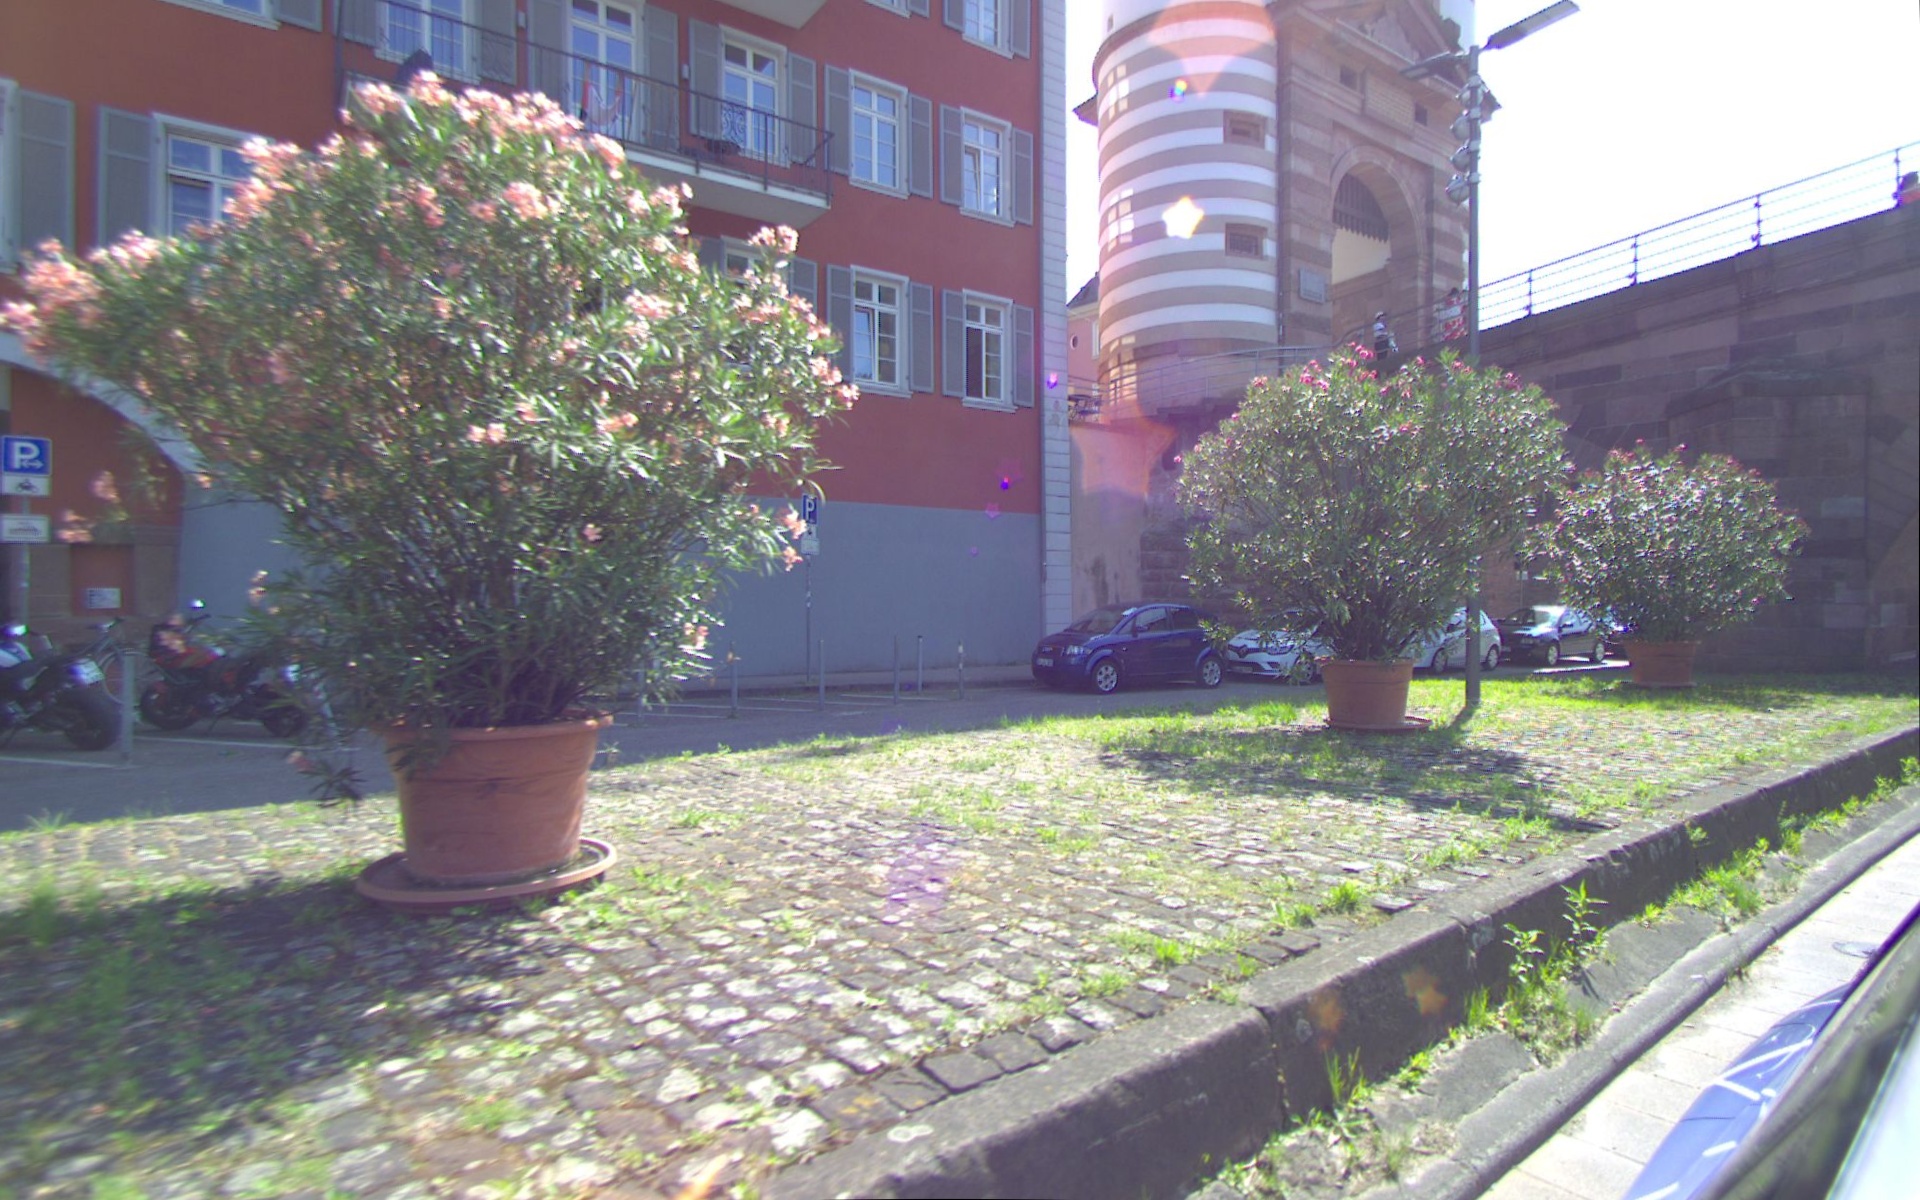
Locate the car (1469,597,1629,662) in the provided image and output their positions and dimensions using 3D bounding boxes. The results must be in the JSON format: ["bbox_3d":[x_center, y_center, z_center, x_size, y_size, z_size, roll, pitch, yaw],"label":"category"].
[{"bbox_3d":[15.024,0.695,25.759,4.406,1.454,1.782,-1,1,-34],"label":"car"}]

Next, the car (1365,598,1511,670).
[{"bbox_3d":[10.792,0.708,22.772,3.504,1.437,1.558,-1,1,-37],"label":"car"}]

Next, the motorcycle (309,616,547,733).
[{"bbox_3d":[-6.225,0.834,11.868,2.503,1.249,0.839,1,0,12],"label":"motorcycle"}]

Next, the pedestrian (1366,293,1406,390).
[{"bbox_3d":[9.860,-5.967,23.449,0.694,2.038,0.580,-1,1,-35],"label":"pedestrian"}]

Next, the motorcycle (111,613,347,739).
[{"bbox_3d":[-7.855,0.781,10.909,2.119,1.249,0.839,1,0,11],"label":"motorcycle"}]

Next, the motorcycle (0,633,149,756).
[{"bbox_3d":[-9.104,0.887,9.822,2.161,1.090,0.627,0,0,8],"label":"motorcycle"}]

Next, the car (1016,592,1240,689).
[{"bbox_3d":[3.034,0.661,18.133,3.734,1.562,1.678,0,0,-30],"label":"car"}]

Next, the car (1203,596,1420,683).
[{"bbox_3d":[7.119,0.710,20.381,4.331,1.511,1.900,-1,1,-34],"label":"car"}]

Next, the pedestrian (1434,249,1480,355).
[{"bbox_3d":[10.807,-6.458,22.009,0.694,2.038,0.640,-1,1,-35],"label":"pedestrian"}]
